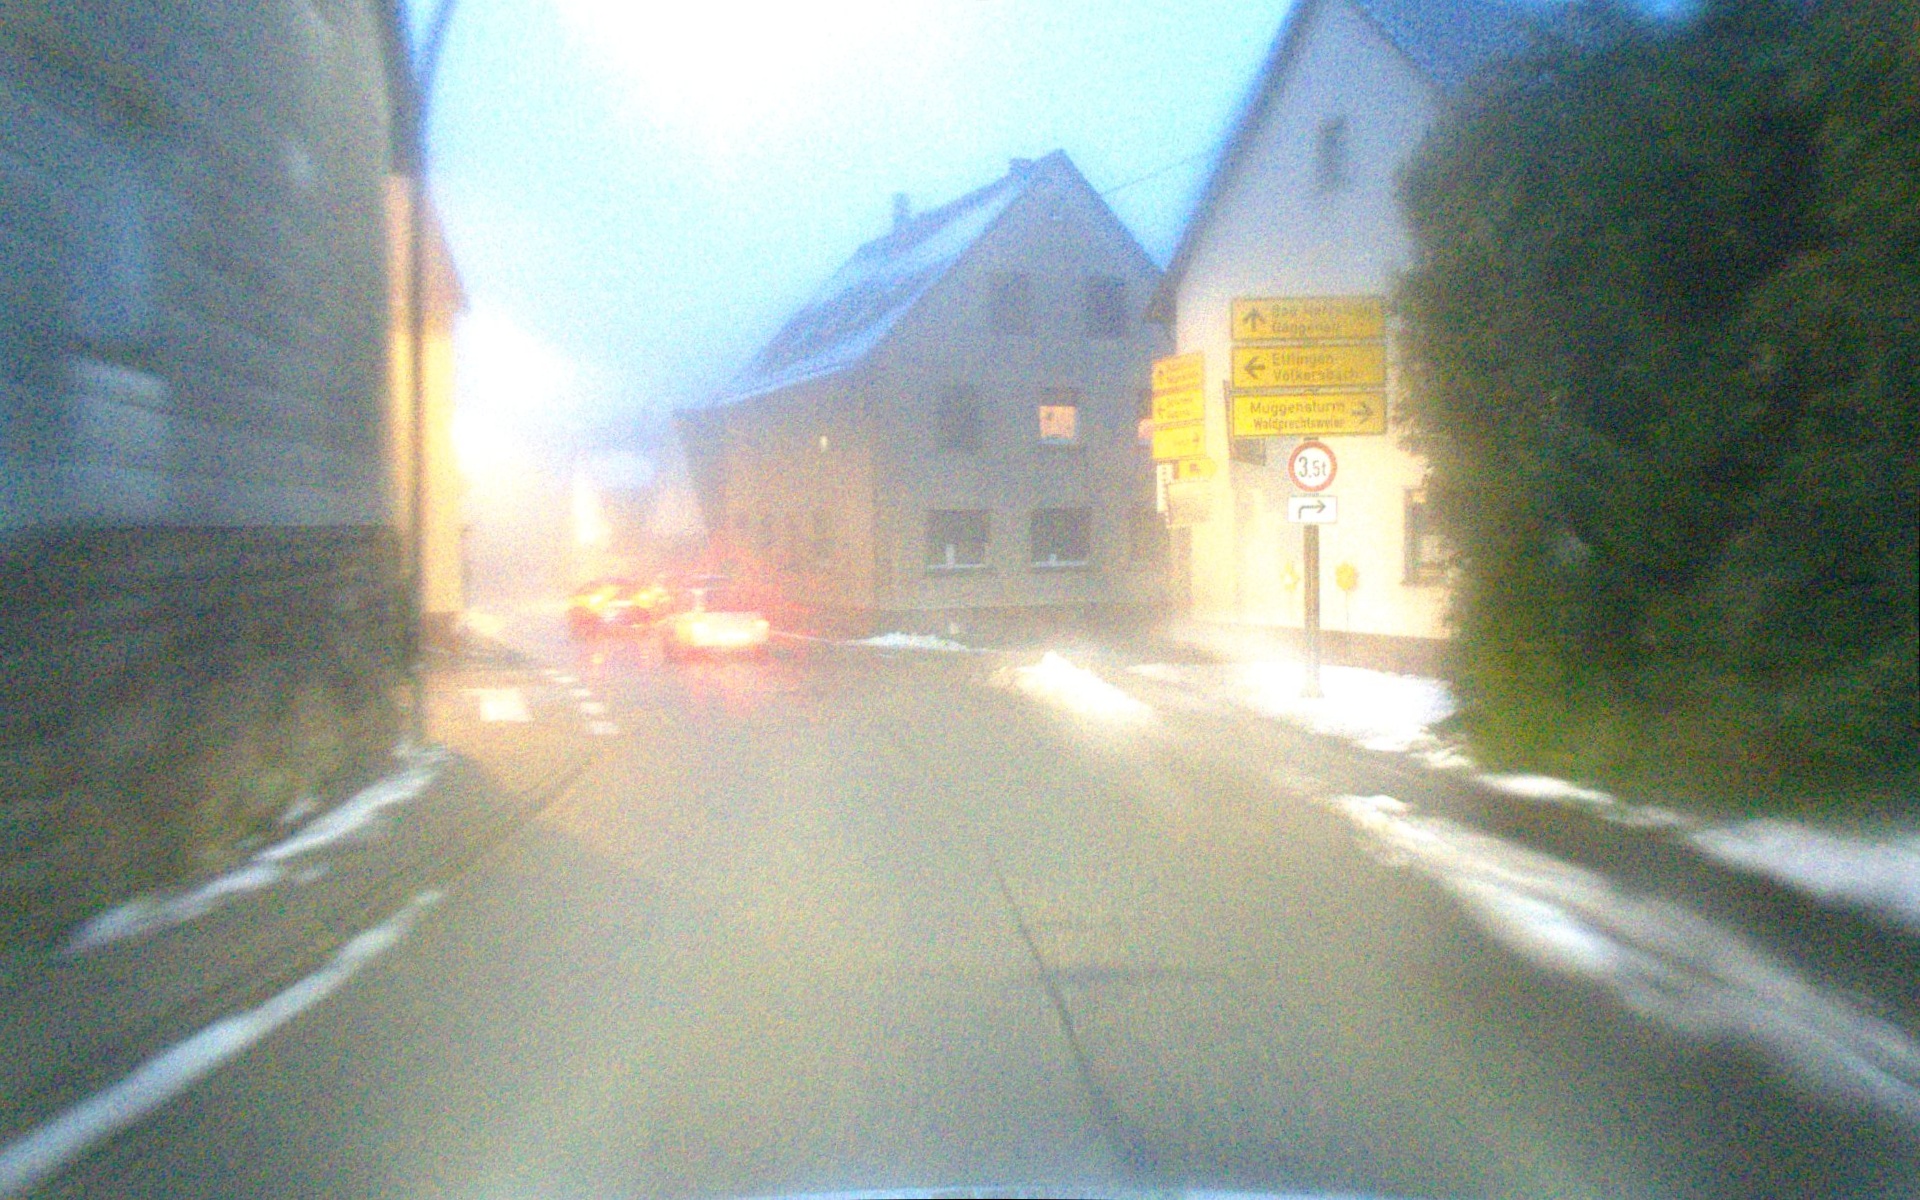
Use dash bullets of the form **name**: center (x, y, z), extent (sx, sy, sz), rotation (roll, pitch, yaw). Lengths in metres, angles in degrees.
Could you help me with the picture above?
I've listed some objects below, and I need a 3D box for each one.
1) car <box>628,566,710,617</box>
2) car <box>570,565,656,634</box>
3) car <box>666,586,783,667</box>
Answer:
- **car**: center (-9.242, -0.278, 52.241), extent (1.882, 1.506, 4.258), rotation (-1, 1, -19)
- **car**: center (-9.479, 0.019, 44.968), extent (1.962, 1.758, 3.981), rotation (1, -1, -17)
- **car**: center (-4.906, 0.538, 34.071), extent (1.960, 1.534, 3.985), rotation (1, -1, -14)
